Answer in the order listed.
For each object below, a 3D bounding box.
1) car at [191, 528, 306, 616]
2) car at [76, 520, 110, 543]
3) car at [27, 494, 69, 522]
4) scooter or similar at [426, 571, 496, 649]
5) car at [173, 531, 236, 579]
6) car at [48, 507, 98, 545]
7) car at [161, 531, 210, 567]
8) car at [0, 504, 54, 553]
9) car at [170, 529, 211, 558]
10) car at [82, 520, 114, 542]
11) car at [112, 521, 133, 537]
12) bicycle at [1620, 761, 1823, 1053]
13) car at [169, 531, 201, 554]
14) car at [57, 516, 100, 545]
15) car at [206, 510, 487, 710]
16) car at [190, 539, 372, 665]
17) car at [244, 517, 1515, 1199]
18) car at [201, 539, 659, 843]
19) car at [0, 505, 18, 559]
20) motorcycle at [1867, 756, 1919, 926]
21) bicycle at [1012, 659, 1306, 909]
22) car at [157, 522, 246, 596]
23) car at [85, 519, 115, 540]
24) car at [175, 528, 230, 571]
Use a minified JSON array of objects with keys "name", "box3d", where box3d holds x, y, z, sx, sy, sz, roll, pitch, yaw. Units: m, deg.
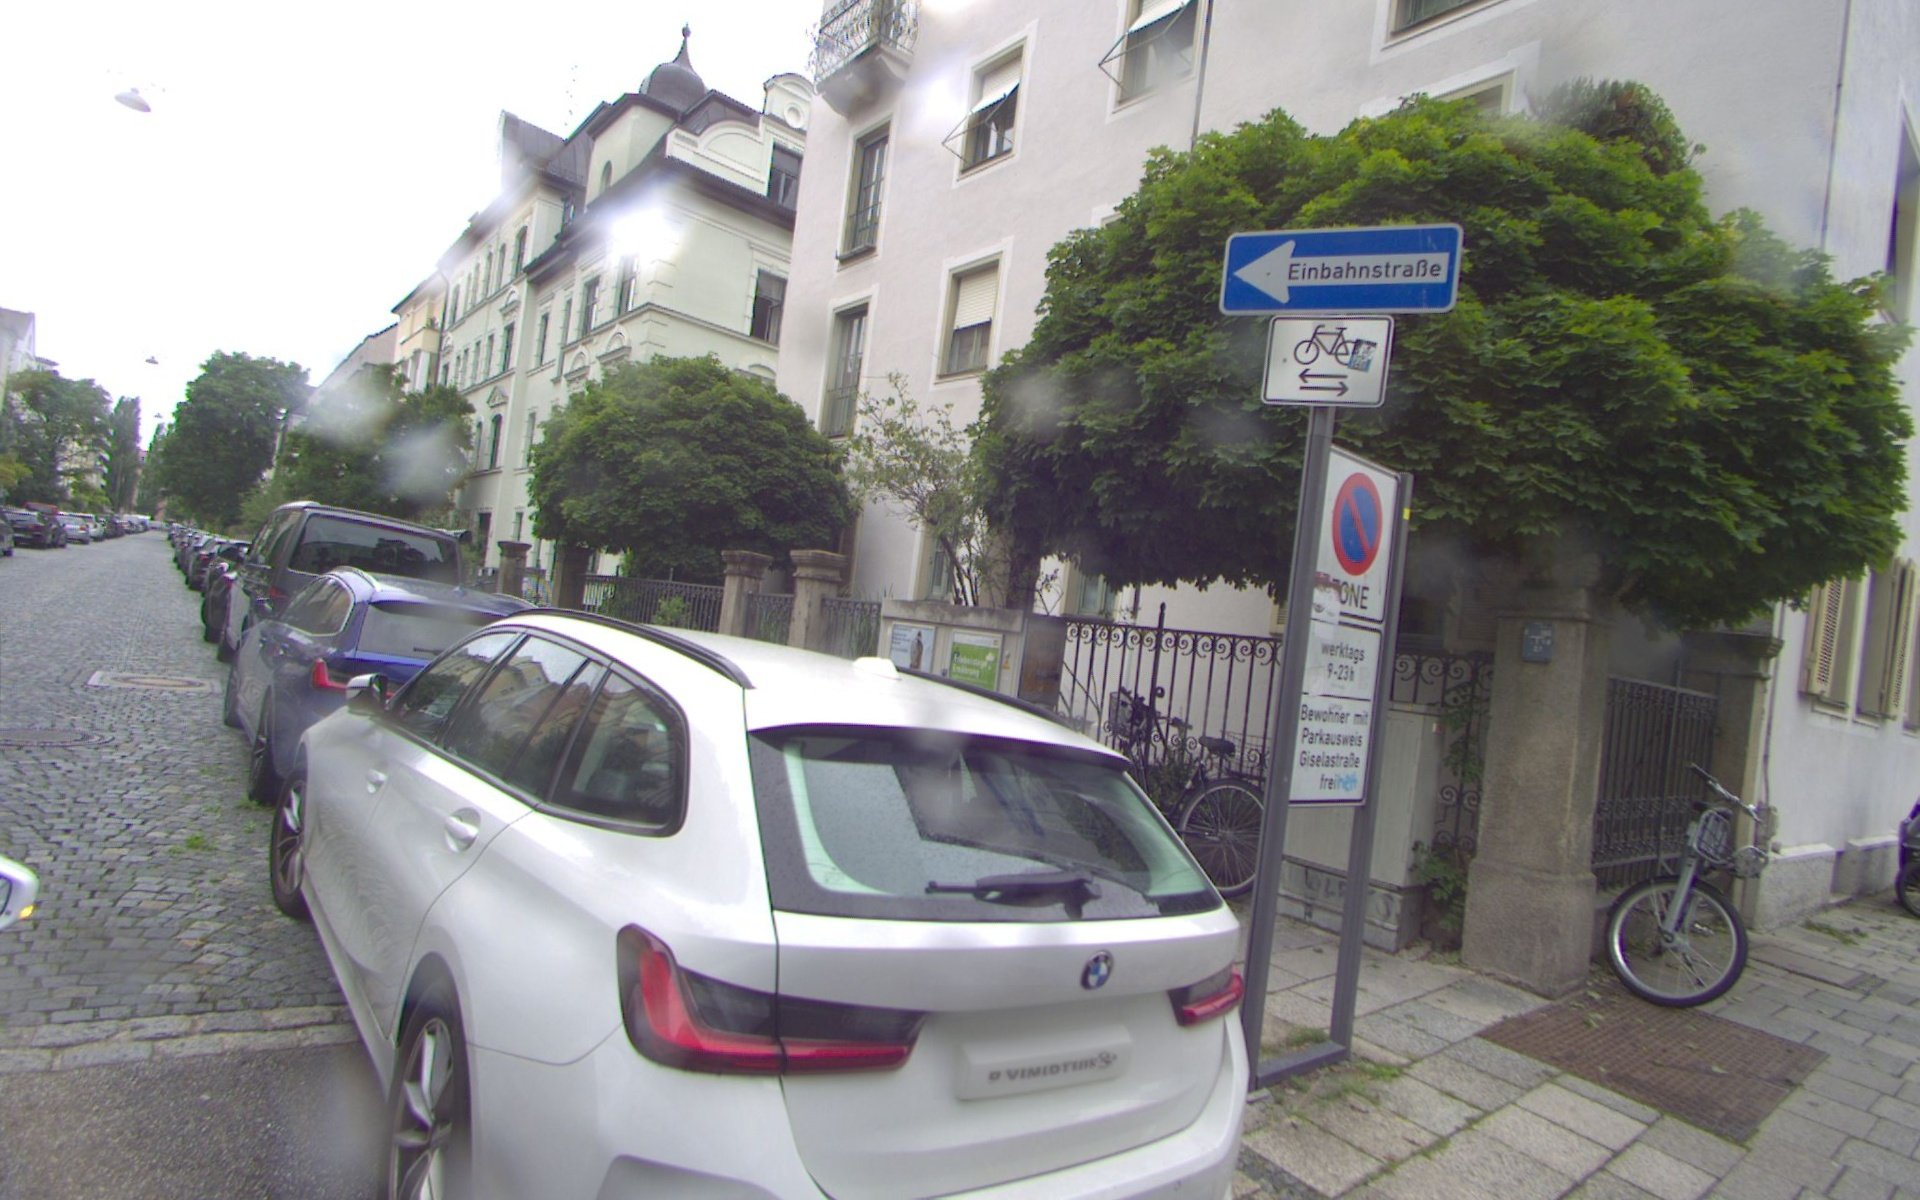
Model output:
[{"name":"car","box3d":[-17.114,-0.687,24.131,1.915,1.653,4.006,11,-4,-37]},{"name":"car","box3d":[-70.408,-5.538,81.702,1.912,1.656,3.699,4,0,-40]},{"name":"car","box3d":[-63.041,-6.341,69.563,1.912,1.656,3.699,4,0,-40]},{"name":"scooter or similar","box3d":[-9.333,0.205,18.890,0.619,1.349,1.602,5,-1,-9]},{"name":"car","box3d":[-26.744,-1.590,35.684,1.586,1.522,3.232,4,0,-35]},{"name":"car","box3d":[-49.856,-4.120,56.606,1.912,1.862,3.699,4,0,-40]},{"name":"car","box3d":[-36.320,-2.388,47.147,1.652,1.484,3.410,4,0,-40]},{"name":"car","box3d":[-37.567,-2.882,40.136,1.916,1.654,3.696,9,-3,-41]},{"name":"car","box3d":[-49.526,-3.637,64.706,1.912,1.656,3.699,4,0,-40]},{"name":"car","box3d":[-73.464,-5.876,85.784,1.912,1.656,3.699,4,0,-40]},{"name":"car","box3d":[-104.639,-8.856,125.772,1.912,1.656,3.699,4,0,-40]},{"name":"bicycle","box3d":[4.161,1.541,5.437,0.537,1.240,1.767,7,-1,45]},{"name":"car","box3d":[-64.484,-4.798,83.708,1.912,1.656,3.699,4,0,-40]},{"name":"car","box3d":[-58.143,-4.577,66.407,1.912,1.656,3.699,4,0,-40]},{"name":"car","box3d":[-7.262,0.016,11.629,2.014,1.710,4.798,9,-2,-39]},{"name":"car","box3d":[-10.831,-0.056,15.884,1.915,1.449,4.752,12,-4,-38]},{"name":"car","box3d":[-1.084,0.688,3.565,1.901,1.547,4.869,12,-4,-39]},{"name":"car","box3d":[-4.234,0.486,7.514,1.923,1.523,4.823,11,-4,-39]},{"name":"car","box3d":[-29.063,-2.096,29.478,1.652,1.552,3.450,8,-2,-37]},{"name":"motorcycle","box3d":[9.614,2.335,9.734,2.689,1.450,0.850,9,-2,-41]},{"name":"bicycle","box3d":[1.254,1.143,6.735,0.465,1.290,1.897,9,-3,-41]},{"name":"car","box3d":[-20.183,-1.100,26.813,1.652,1.654,3.504,7,-2,-37]},{"name":"car","box3d":[-77.364,-6.350,90.534,1.912,1.656,3.699,4,0,-40]},{"name":"car","box3d":[-32.831,-2.194,43.561,1.652,1.656,3.410,4,0,-40]}]
